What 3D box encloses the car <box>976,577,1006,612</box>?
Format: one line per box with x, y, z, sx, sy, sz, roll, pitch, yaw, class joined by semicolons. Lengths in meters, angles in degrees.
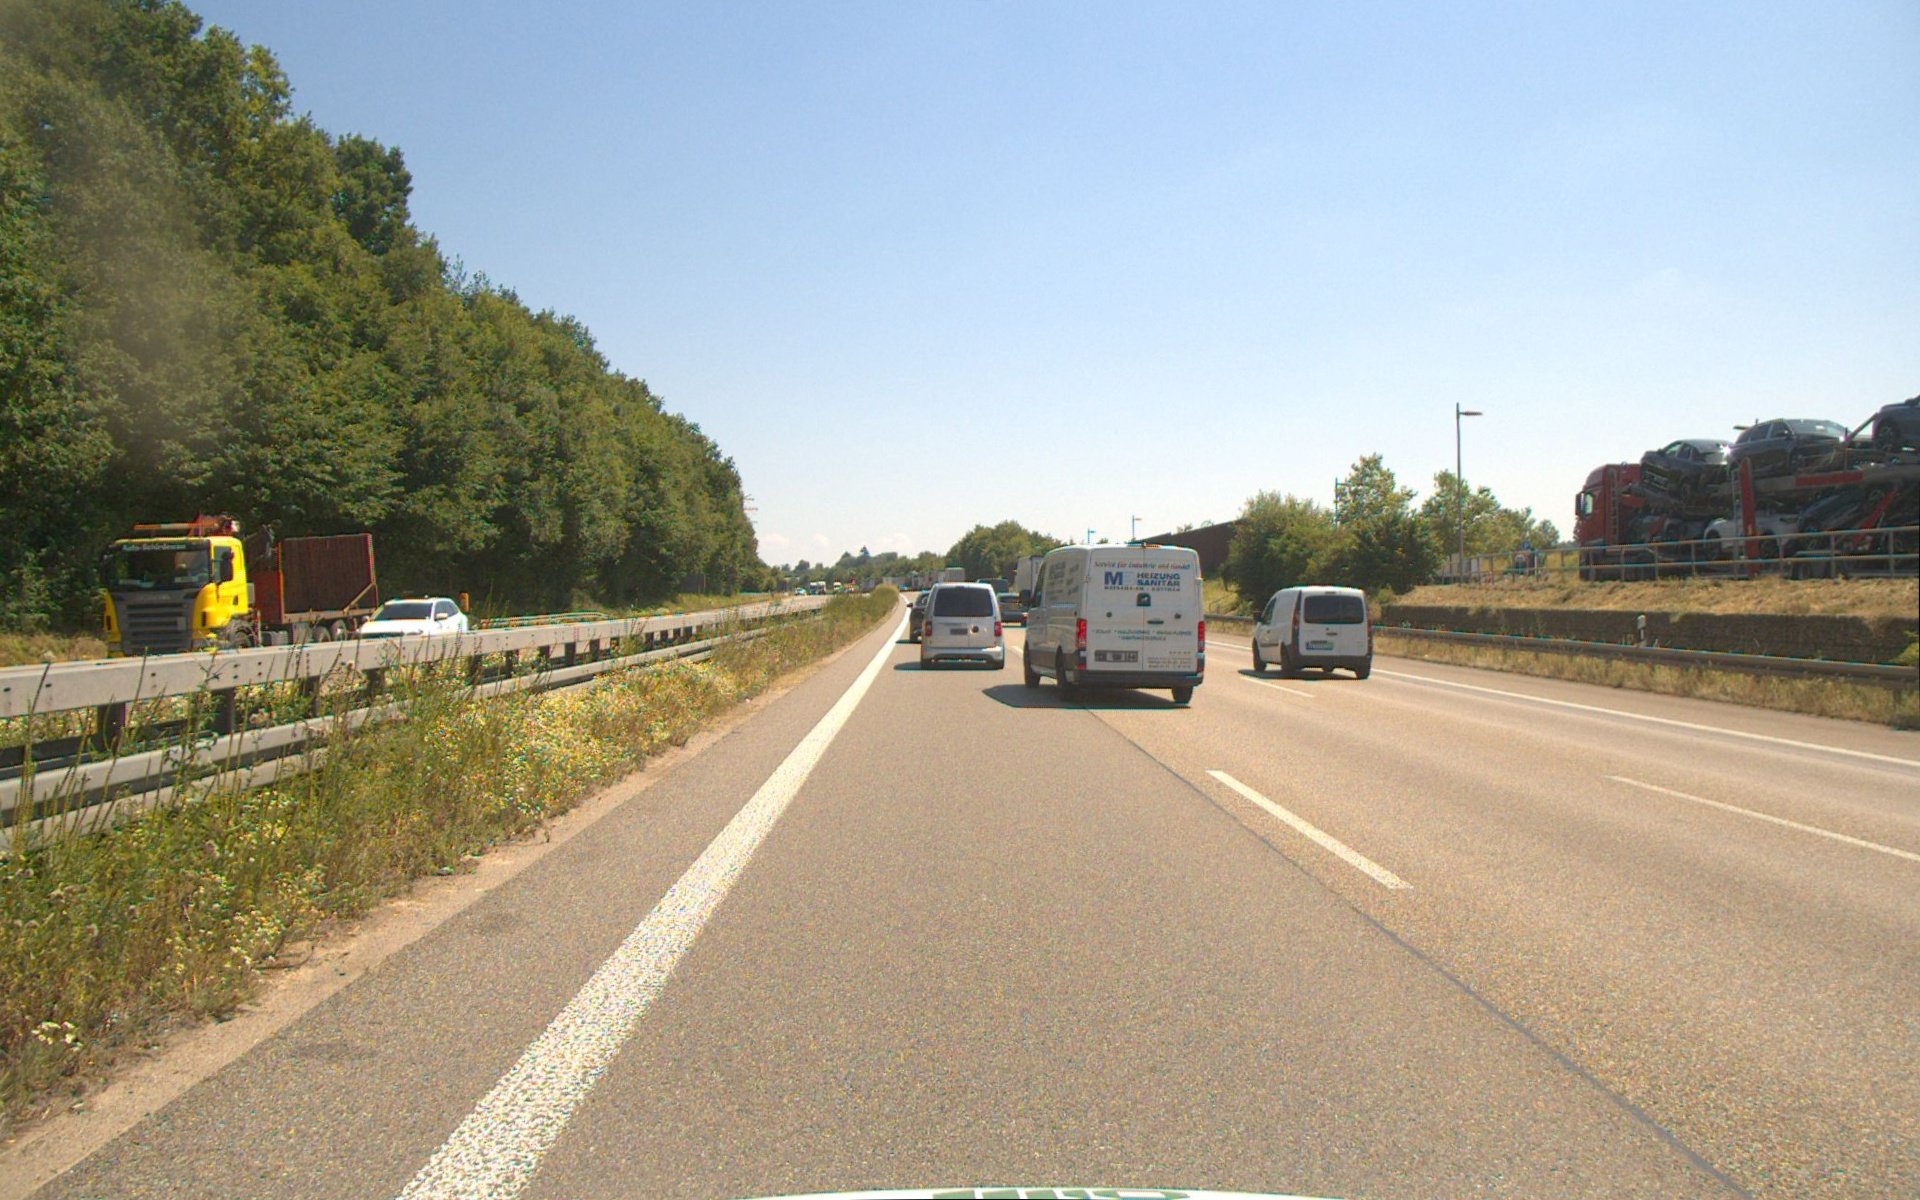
1.746;-0.325;94.314;1.640;1.925;4.088;-1;0;1;car

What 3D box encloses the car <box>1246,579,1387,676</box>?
7.321;0.541;34.356;1.911;1.870;4.177;-1;0;-1;car

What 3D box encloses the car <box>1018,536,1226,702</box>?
2.367;0.283;25.773;2.140;2.293;5.356;1;0;-6;car

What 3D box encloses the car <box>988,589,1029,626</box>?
2.299;0.365;78.759;1.862;1.701;4.088;-1;0;1;car

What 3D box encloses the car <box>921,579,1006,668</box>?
0.094;0.482;35.646;1.709;1.795;4.088;-1;0;1;car

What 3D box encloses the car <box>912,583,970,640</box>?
-0.577;0.360;52.648;1.709;1.731;4.089;-1;0;1;car

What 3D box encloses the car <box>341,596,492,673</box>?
-13.353;0.815;41.030;1.953;1.699;5.610;-2;0;-1;car

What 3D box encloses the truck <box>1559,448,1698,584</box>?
20.399;-2.498;50.677;2.549;3.894;3.999;1;0;-1;truck

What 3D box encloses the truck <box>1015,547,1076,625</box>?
5.899;-0.902;116.806;3.710;5.087;12.518;1;0;1;truck

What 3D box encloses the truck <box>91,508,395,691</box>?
-16.999;0.007;40.407;2.726;3.804;11.154;1;0;-1;truck

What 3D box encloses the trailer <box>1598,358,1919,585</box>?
20.566;-2.690;40.327;2.552;4.332;18.417;1;0;-1;trailer
